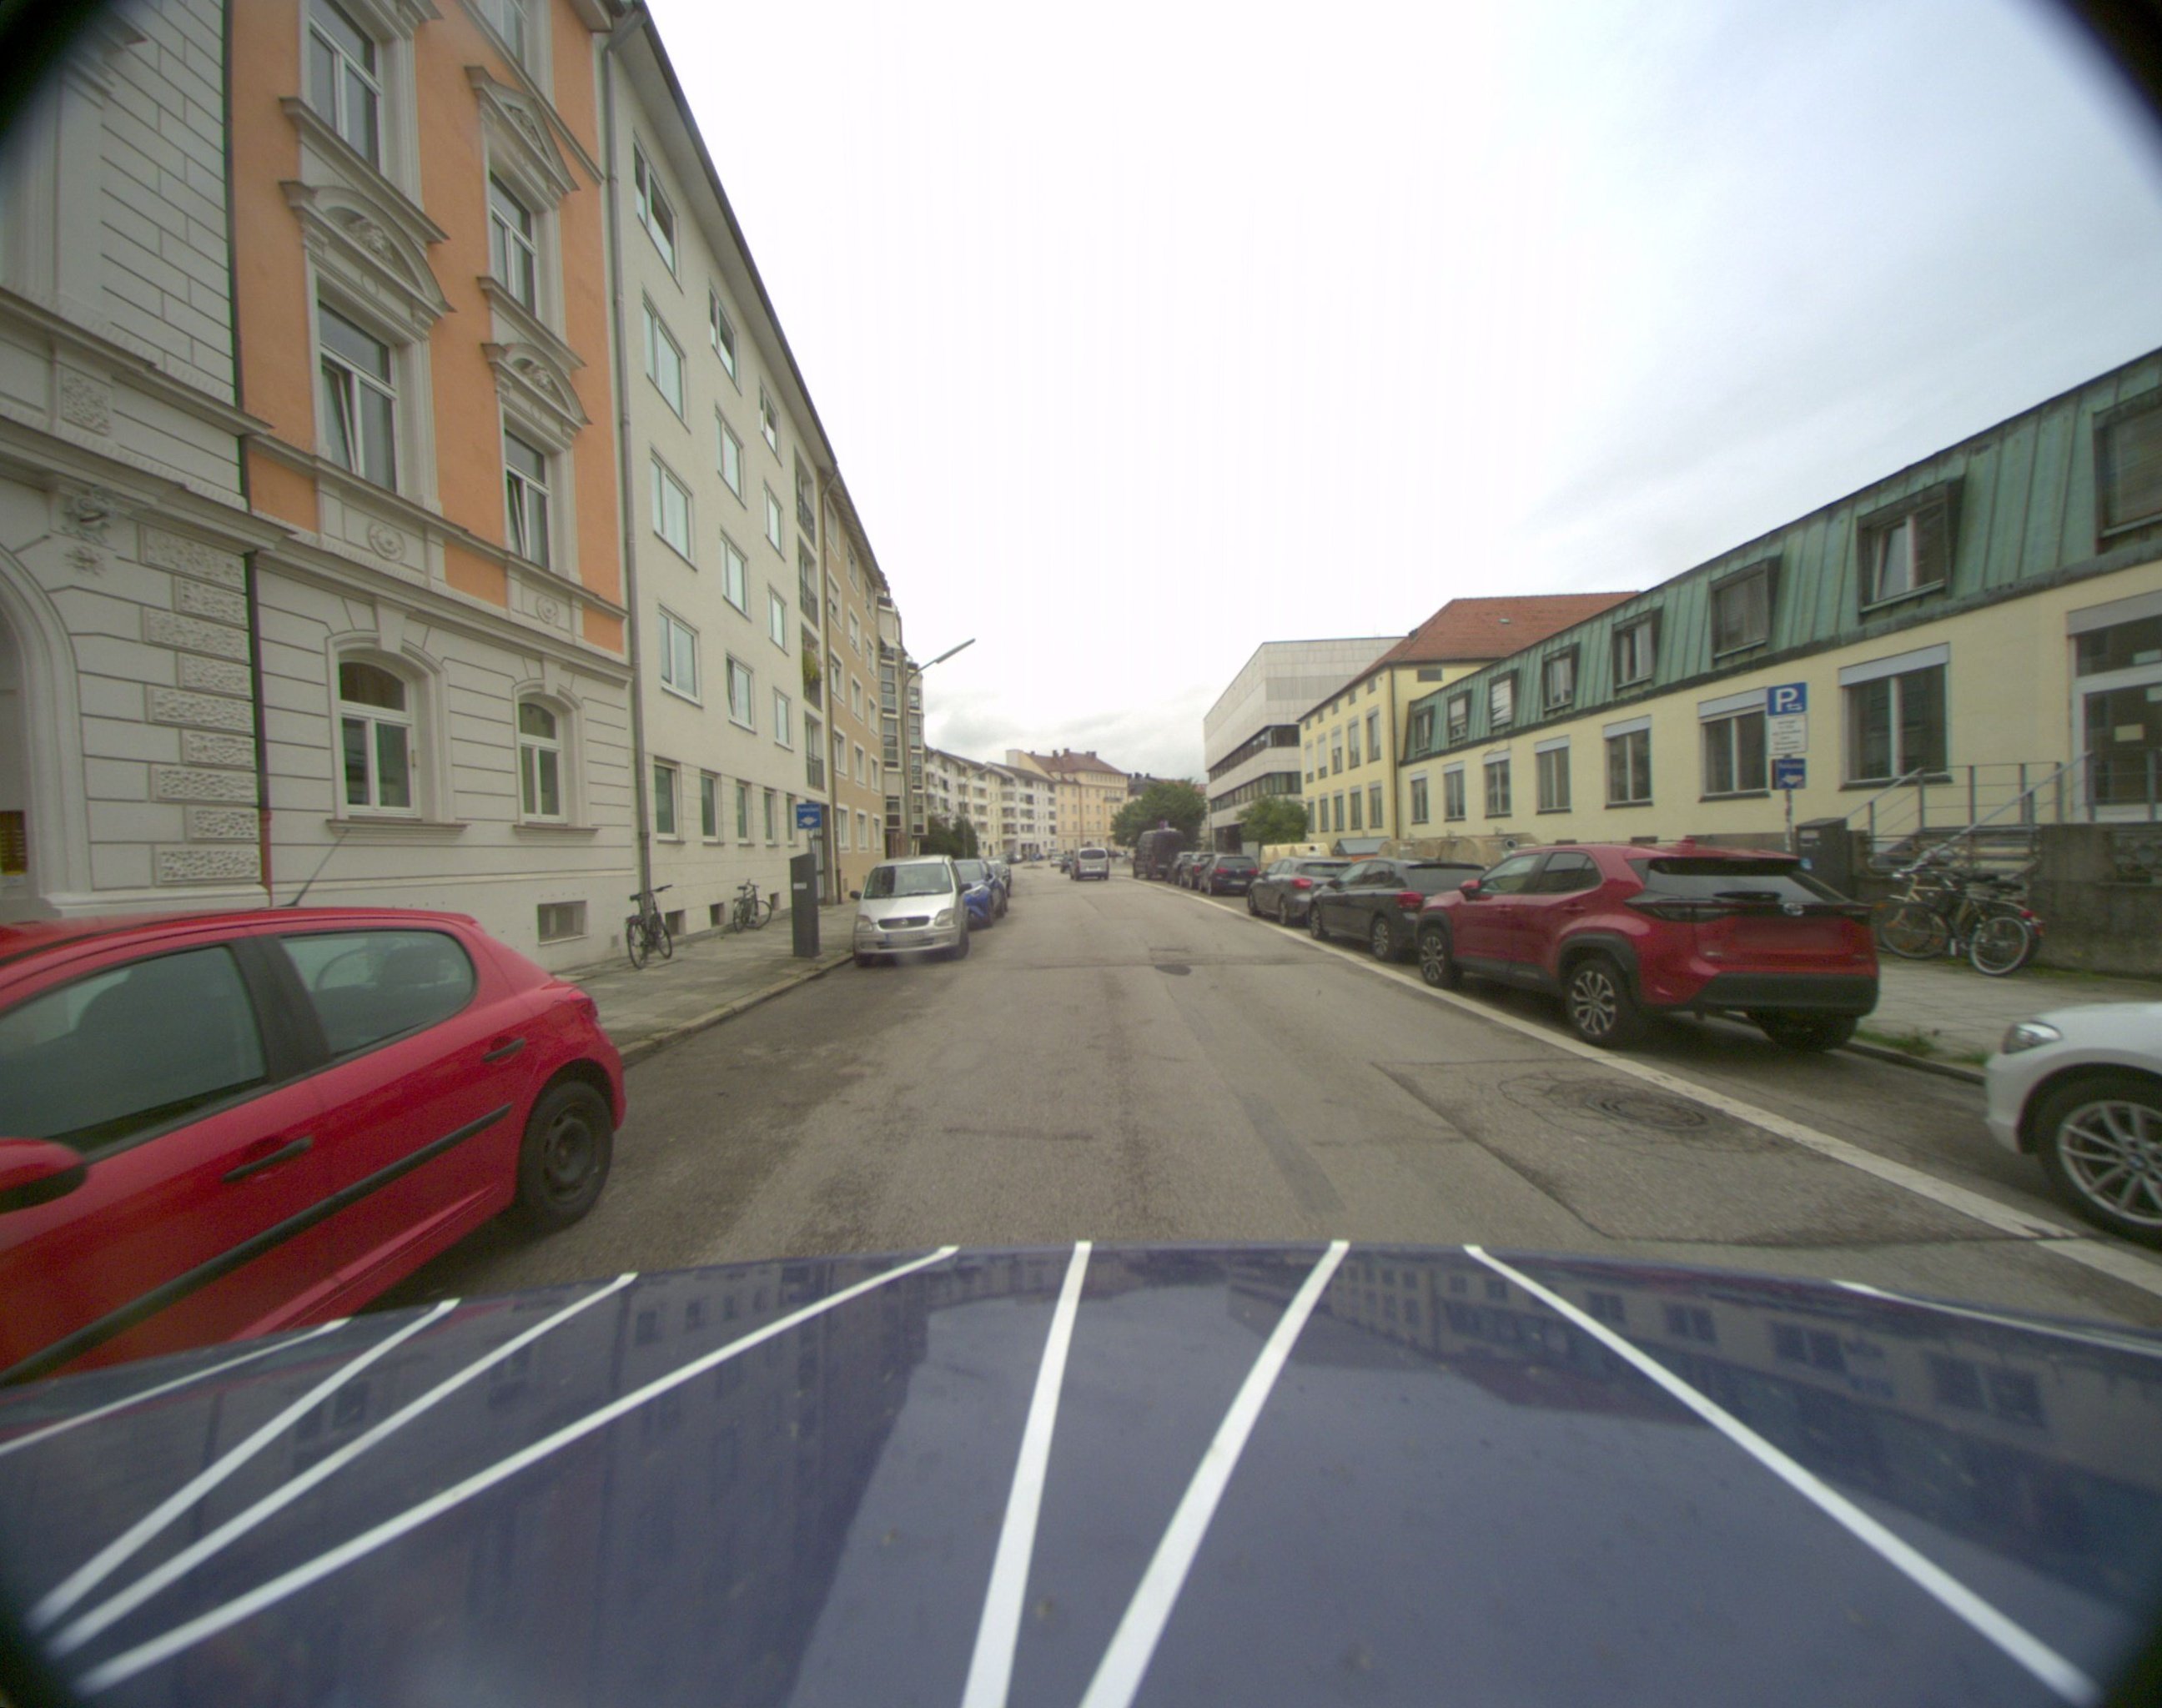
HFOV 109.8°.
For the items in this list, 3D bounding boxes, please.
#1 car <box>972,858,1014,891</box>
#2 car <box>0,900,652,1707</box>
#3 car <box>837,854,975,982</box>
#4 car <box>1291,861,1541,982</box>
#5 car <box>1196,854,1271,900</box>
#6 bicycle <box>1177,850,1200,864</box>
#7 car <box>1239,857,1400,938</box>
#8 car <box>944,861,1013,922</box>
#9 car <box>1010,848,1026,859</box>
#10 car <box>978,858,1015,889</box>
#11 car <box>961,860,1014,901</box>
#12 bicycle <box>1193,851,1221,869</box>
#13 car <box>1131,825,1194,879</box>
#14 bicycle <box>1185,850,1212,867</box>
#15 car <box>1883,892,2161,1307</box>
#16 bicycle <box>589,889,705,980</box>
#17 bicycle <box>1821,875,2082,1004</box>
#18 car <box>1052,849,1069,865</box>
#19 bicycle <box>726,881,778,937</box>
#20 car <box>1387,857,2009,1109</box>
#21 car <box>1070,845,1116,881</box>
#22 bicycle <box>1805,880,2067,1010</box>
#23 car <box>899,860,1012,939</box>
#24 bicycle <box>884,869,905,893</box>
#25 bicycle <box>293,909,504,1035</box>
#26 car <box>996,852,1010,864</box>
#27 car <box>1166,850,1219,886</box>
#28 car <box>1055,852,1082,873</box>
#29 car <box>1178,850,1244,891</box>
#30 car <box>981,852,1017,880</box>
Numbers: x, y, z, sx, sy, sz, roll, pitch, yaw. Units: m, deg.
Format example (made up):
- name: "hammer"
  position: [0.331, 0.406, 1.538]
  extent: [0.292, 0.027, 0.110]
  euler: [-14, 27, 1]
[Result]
- name: "car"
  position: [-4.262, 0.954, 36.911]
  extent: [1.859, 1.406, 5.011]
  euler: [-2, 0, -6]
- name: "car"
  position: [-3.048, 1.041, 1.804]
  extent: [1.691, 1.491, 4.146]
  euler: [-4, 0, -2]
- name: "car"
  position: [-2.710, 0.899, 12.558]
  extent: [1.686, 1.664, 3.802]
  euler: [-4, 1, -6]
- name: "car"
  position: [4.787, 0.866, 11.661]
  extent: [1.754, 1.397, 4.353]
  euler: [1, 1, -2]
- name: "car"
  position: [5.395, 0.765, 27.487]
  extent: [1.918, 1.473, 4.532]
  euler: [1, 0, 2]
- name: "bicycle"
  position: [9.182, 0.271, 64.956]
  extent: [1.815, 1.145, 0.519]
  euler: [-2, 1, -1]
- name: "car"
  position: [4.991, 0.837, 16.697]
  extent: [2.019, 1.410, 4.614]
  euler: [1, 1, -1]
- name: "car"
  position: [-2.959, 1.023, 22.645]
  extent: [1.710, 1.446, 4.399]
  euler: [-5, 1, -5]
- name: "car"
  position: [-9.772, -0.034, 117.959]
  extent: [1.998, 1.630, 4.000]
  euler: [-2, 1, 2]
- name: "car"
  position: [-4.751, 1.054, 42.314]
  extent: [1.763, 1.358, 4.776]
  euler: [-6, 1, -8]
- name: "car"
  position: [-3.810, 1.022, 31.532]
  extent: [1.960, 1.406, 5.110]
  euler: [-2, 1, -5]
- name: "bicycle"
  position: [8.749, 0.406, 52.756]
  extent: [1.814, 1.145, 0.519]
  euler: [-2, 1, 7]
- name: "car"
  position: [4.529, -0.111, 43.283]
  extent: [2.220, 2.837, 6.192]
  euler: [1, 1, -7]
- name: "bicycle"
  position: [8.432, 0.293, 54.358]
  extent: [1.815, 1.145, 0.519]
  euler: [-2, 1, -1]
- name: "car"
  position: [4.780, 0.949, 1.310]
  extent: [1.798, 1.421, 4.663]
  euler: [1, 1, 0]
- name: "bicycle"
  position: [-6.352, 1.126, 11.248]
  extent: [0.725, 1.106, 1.993]
  euler: [-2, 1, -7]
- name: "bicycle"
  position: [9.603, 0.871, 8.537]
  extent: [0.536, 1.178, 2.106]
  euler: [-2, 1, 1]
- name: "car"
  position: [-2.313, 0.340, 86.560]
  extent: [1.797, 1.663, 4.148]
  euler: [-2, 0, -2]
- name: "bicycle"
  position: [-7.190, 1.174, 16.685]
  extent: [0.531, 1.065, 1.999]
  euler: [-2, 1, -9]
- name: "car"
  position: [4.758, 0.820, 7.000]
  extent: [1.963, 1.473, 4.528]
  euler: [1, 1, -1]
- name: "car"
  position: [0.628, 0.479, 43.853]
  extent: [1.921, 1.837, 5.318]
  euler: [-3, 0, -6]
- name: "bicycle"
  position: [9.241, 0.914, 8.371]
  extent: [0.536, 1.141, 2.106]
  euler: [-2, 1, 1]
- name: "car"
  position: [-2.789, 0.955, 17.852]
  extent: [1.746, 1.486, 4.548]
  euler: [-2, 1, 1]
- name: "bicycle"
  position: [-9.005, 1.295, 36.756]
  extent: [0.678, 1.027, 1.752]
  euler: [-2, 1, -5]
- name: "bicycle"
  position: [-7.023, 1.158, 7.963]
  extent: [0.597, 1.018, 1.817]
  euler: [-1, 0, -2]
- name: "car"
  position: [-10.297, 0.474, 100.030]
  extent: [1.755, 1.483, 3.997]
  euler: [-2, 1, -6]
- name: "car"
  position: [5.309, 0.635, 36.756]
  extent: [1.885, 1.627, 4.348]
  euler: [1, 0, -1]
- name: "car"
  position: [-1.031, 0.643, 60.546]
  extent: [1.666, 1.466, 3.704]
  euler: [-2, 1, -9]
- name: "car"
  position: [5.419, 0.658, 32.250]
  extent: [1.918, 1.578, 4.351]
  euler: [2, 0, -2]
- name: "car"
  position: [-5.211, 0.701, 47.597]
  extent: [1.884, 1.636, 4.639]
  euler: [-2, 1, -10]
